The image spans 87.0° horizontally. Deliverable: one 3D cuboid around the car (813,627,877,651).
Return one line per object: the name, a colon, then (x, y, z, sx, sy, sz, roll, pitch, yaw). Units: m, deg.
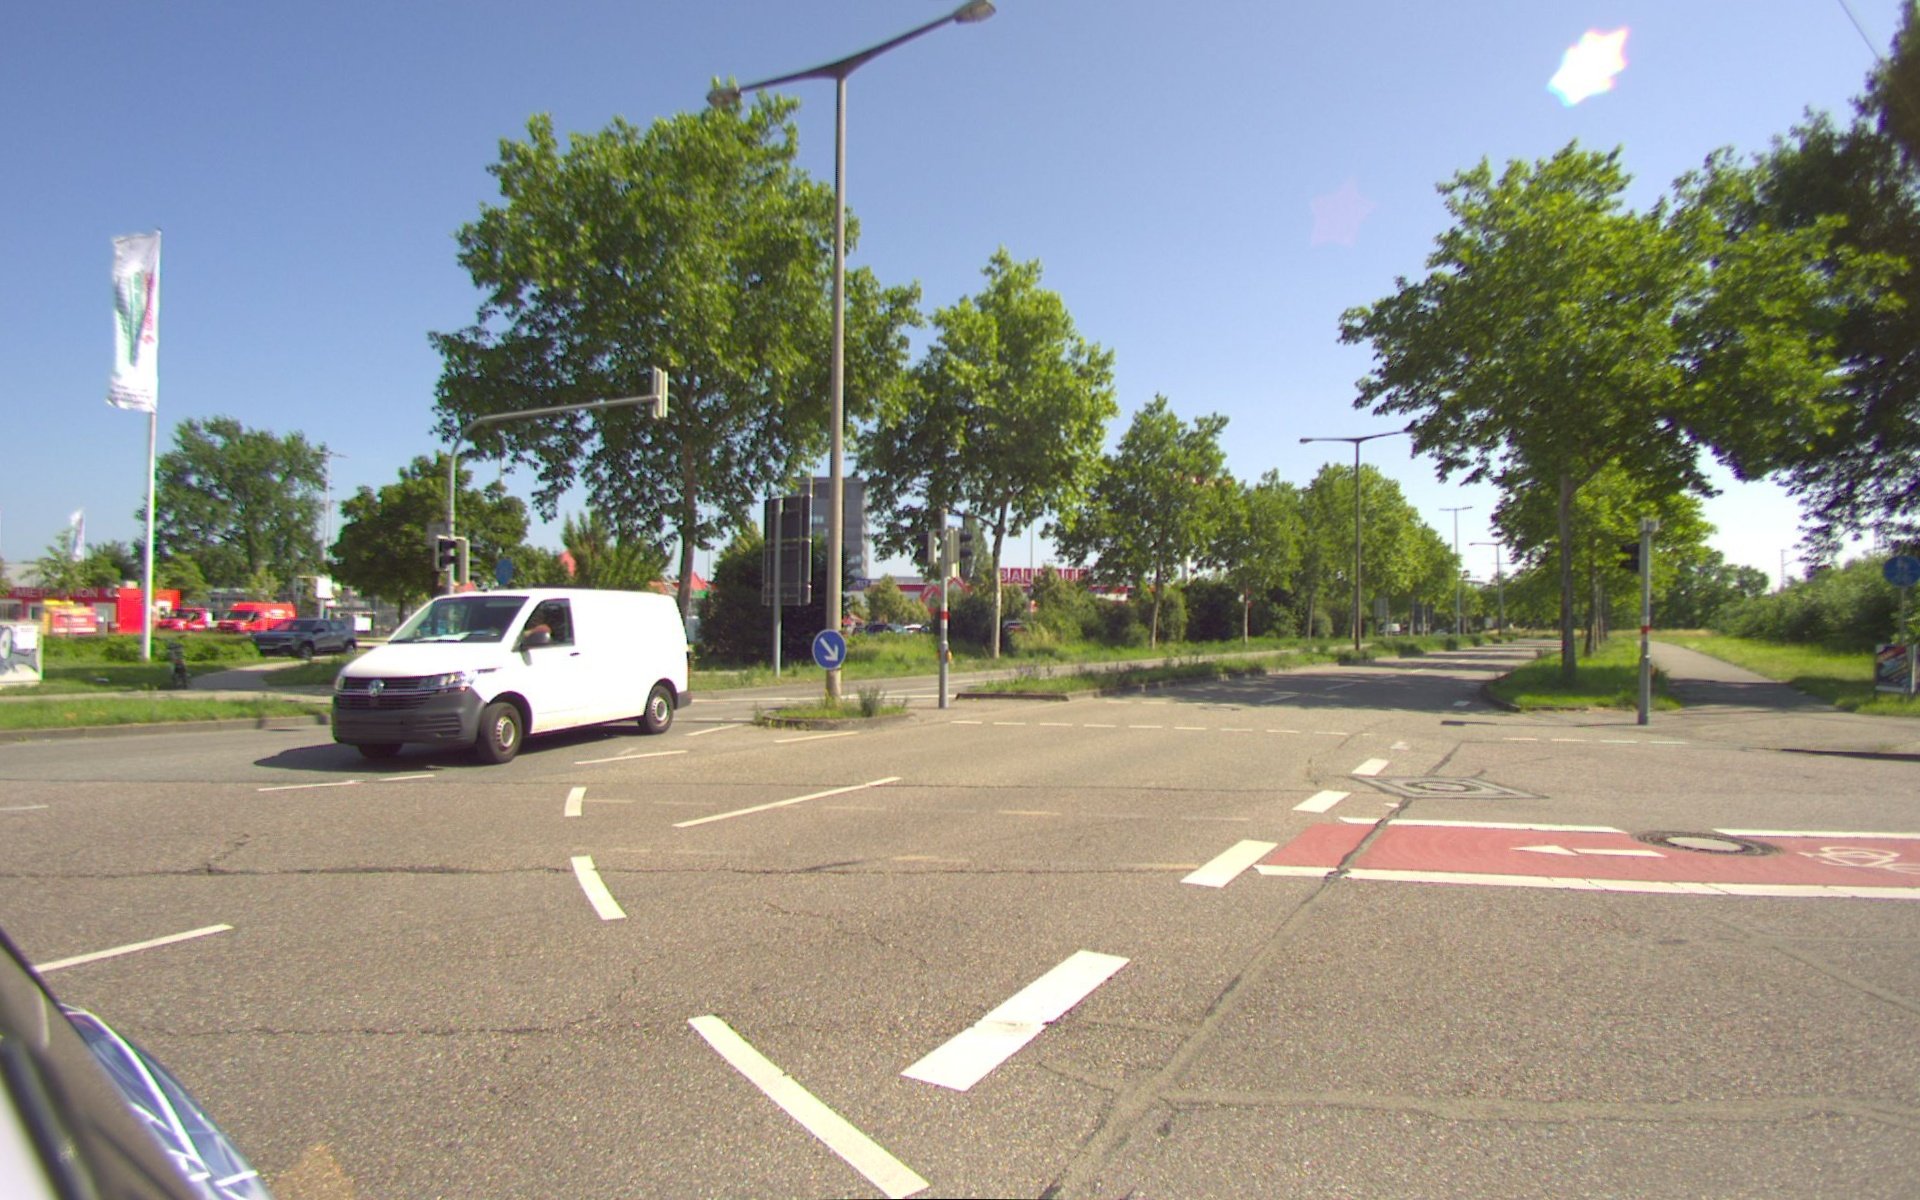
car: (-6.652, 2.244, 58.491, 3.524, 1.256, 1.593, -4, -3, 37)

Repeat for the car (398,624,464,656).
car: (-26.888, 2.029, 51.548, 1.522, 1.544, 3.486, -2, -2, 1)

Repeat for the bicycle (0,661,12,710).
bicycle: (-16.678, 1.411, 16.366, 0.533, 0.800, 1.887, 0, -2, 36)

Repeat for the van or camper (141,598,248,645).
van or camper: (-52.037, 1.545, 69.045, 1.971, 2.964, 7.290, -2, -2, -2)

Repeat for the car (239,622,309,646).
car: (-45.471, 2.283, 67.209, 1.763, 1.542, 4.392, -2, -2, -1)

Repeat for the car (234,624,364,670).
car: (-22.702, 1.609, 34.970, 1.880, 1.431, 3.998, -2, -2, 1)

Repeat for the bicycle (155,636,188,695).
bicycle: (-16.532, 1.344, 21.236, 0.488, 1.148, 1.913, 0, -1, -37)

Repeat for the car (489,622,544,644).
car: (-37.625, 2.835, 85.971, 3.874, 1.735, 1.788, -2, -2, 0)

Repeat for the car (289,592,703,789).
car: (-5.311, 0.958, 12.486, 1.858, 1.915, 4.852, -1, -2, 18)

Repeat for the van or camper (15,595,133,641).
van or camper: (-61.235, 1.330, 70.171, 1.971, 2.964, 7.290, -2, -2, -2)
